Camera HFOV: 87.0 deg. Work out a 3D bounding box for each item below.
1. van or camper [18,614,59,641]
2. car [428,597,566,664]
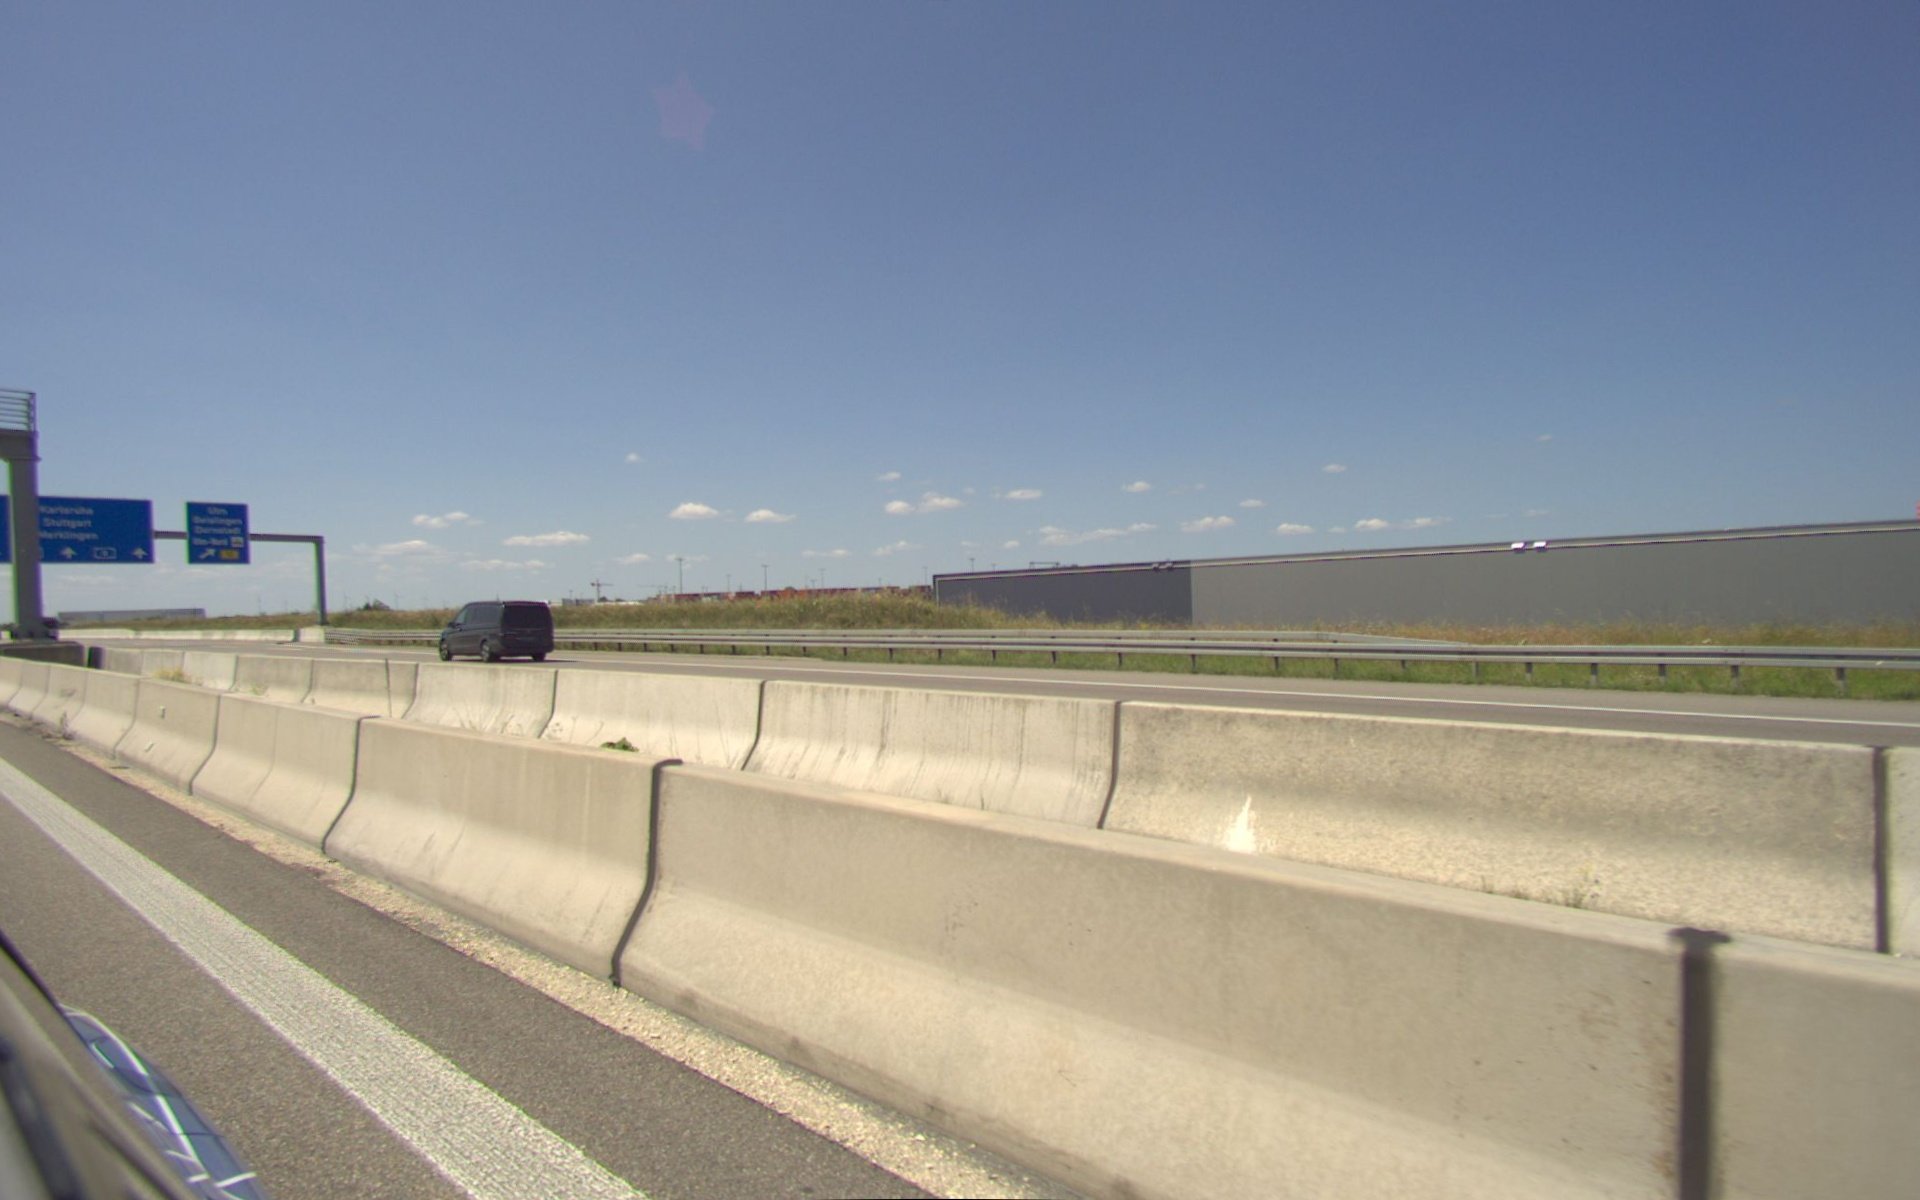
[{"bbox_3d":[-92.050,2.783,101.038,6.311,2.577,2.295,-2,-1,41],"label":"van or camper"},{"bbox_3d":[-15.267,1.070,33.221,5.379,2.029,2.125,-3,-4,42],"label":"car"}]
